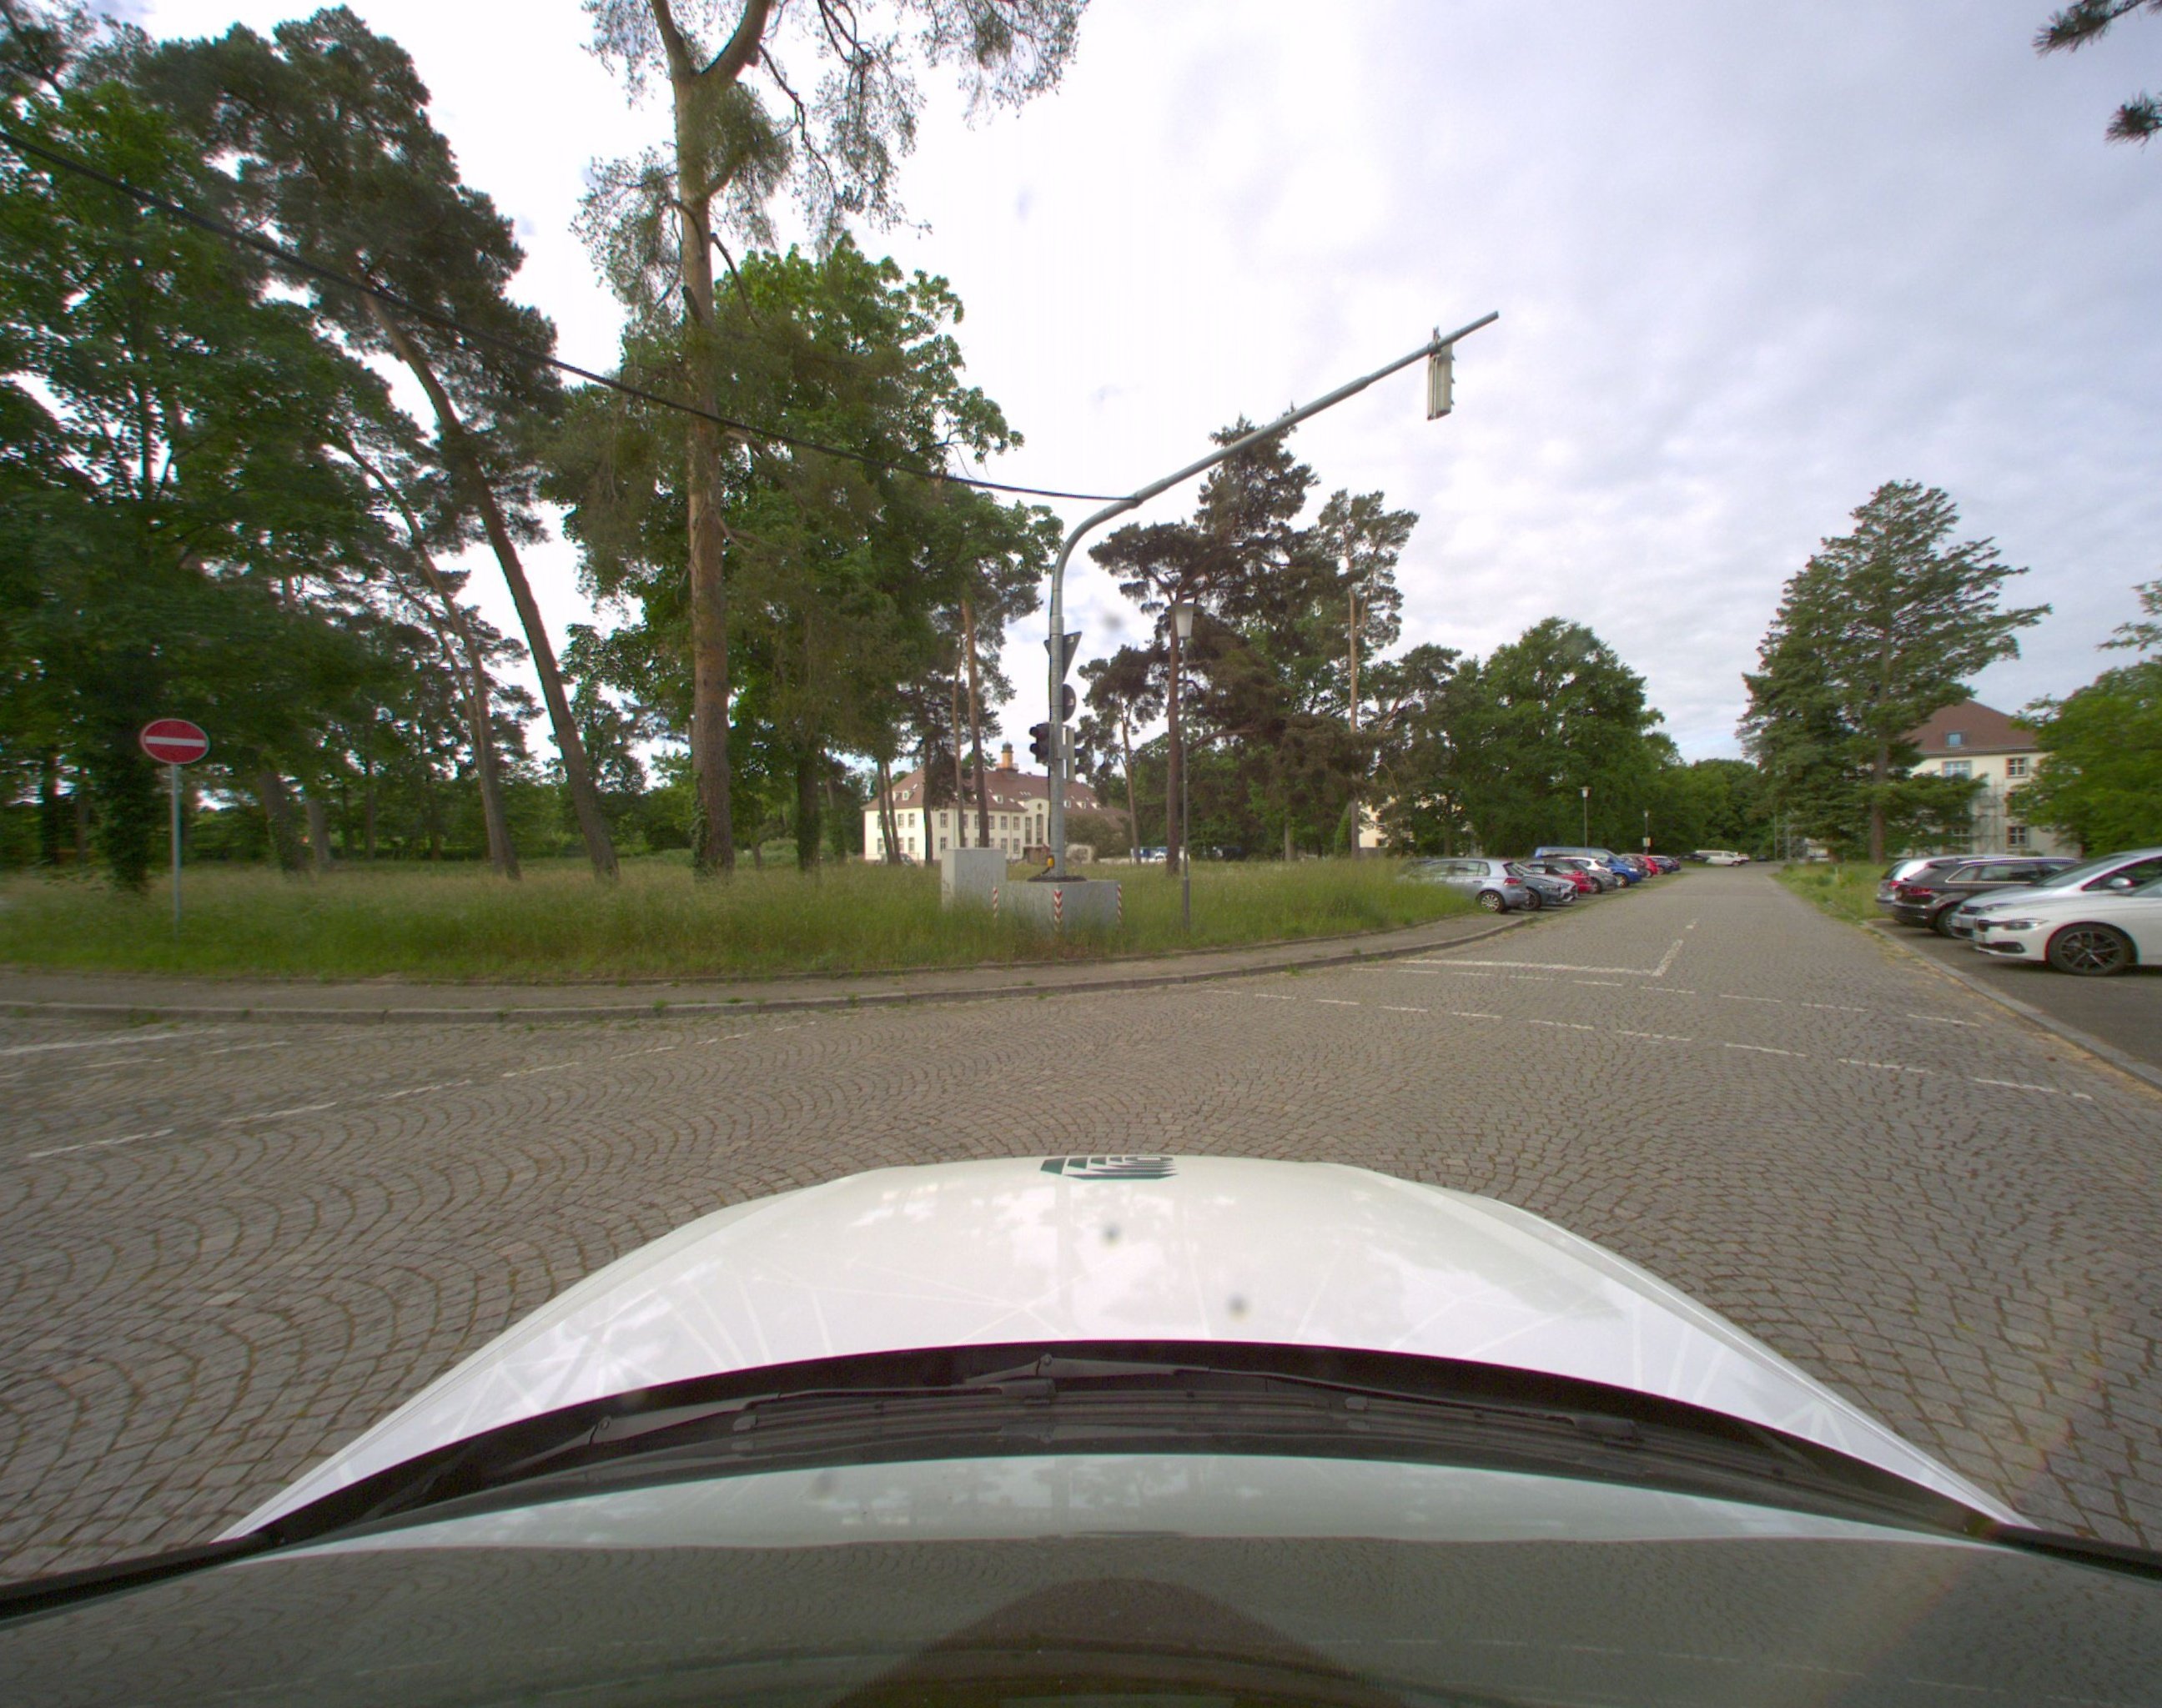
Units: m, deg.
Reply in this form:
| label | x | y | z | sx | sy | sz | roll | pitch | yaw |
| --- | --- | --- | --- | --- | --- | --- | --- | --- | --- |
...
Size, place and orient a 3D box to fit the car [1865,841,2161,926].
| label | x | y | z | sx | sy | sz | roll | pitch | yaw |
| --- | --- | --- | --- | --- | --- | --- | --- | --- | --- |
| car | 18.925 | 0.625 | 16.550 | 4.033 | 1.515 | 1.816 | -4 | -2 | 37 |

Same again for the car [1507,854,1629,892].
| label | x | y | z | sx | sy | sz | roll | pitch | yaw |
| --- | --- | --- | --- | --- | --- | --- | --- | --- | --- |
| car | 20.493 | 0.765 | 34.358 | 4.126 | 1.491 | 1.876 | -1 | 0 | 41 |

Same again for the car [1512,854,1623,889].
| label | x | y | z | sx | sy | sz | roll | pitch | yaw |
| --- | --- | --- | --- | --- | --- | --- | --- | --- | --- |
| car | 22.016 | 0.778 | 36.923 | 4.029 | 1.497 | 1.857 | -1 | 0 | 40 |

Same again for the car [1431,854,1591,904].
| label | x | y | z | sx | sy | sz | roll | pitch | yaw |
| --- | --- | --- | --- | --- | --- | --- | --- | --- | --- |
| car | 13.948 | 0.769 | 26.496 | 4.332 | 1.507 | 1.948 | -1 | 0 | 38 |

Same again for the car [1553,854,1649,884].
| label | x | y | z | sx | sy | sz | roll | pitch | yaw |
| --- | --- | --- | --- | --- | --- | --- | --- | --- | --- |
| car | 27.307 | 0.749 | 42.839 | 4.126 | 1.510 | 1.793 | -1 | 0 | 37 |

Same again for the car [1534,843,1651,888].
| label | x | y | z | sx | sy | sz | roll | pitch | yaw |
| --- | --- | --- | --- | --- | --- | --- | --- | --- | --- |
| car | 25.618 | 0.573 | 40.855 | 4.736 | 2.122 | 2.128 | -1 | 0 | 39 |

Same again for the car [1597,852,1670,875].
| label | x | y | z | sx | sy | sz | roll | pitch | yaw |
| --- | --- | --- | --- | --- | --- | --- | --- | --- | --- |
| car | 37.893 | 0.617 | 55.854 | 4.016 | 1.525 | 1.917 | -1 | 0 | 38 |

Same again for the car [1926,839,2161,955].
| label | x | y | z | sx | sy | sz | roll | pitch | yaw |
| --- | --- | --- | --- | --- | --- | --- | --- | --- | --- |
| car | 15.791 | 0.598 | 12.055 | 4.198 | 1.596 | 1.897 | -4 | -2 | 36 |

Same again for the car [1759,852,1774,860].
| label | x | y | z | sx | sy | sz | roll | pitch | yaw |
| --- | --- | --- | --- | --- | --- | --- | --- | --- | --- |
| car | 127.562 | 0.326 | 151.519 | 1.932 | 1.522 | 4.025 | 0 | 0 | 38 |

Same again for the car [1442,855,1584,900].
| label | x | y | z | sx | sy | sz | roll | pitch | yaw |
| --- | --- | --- | --- | --- | --- | --- | --- | --- | --- |
| car | 15.096 | 0.778 | 28.548 | 4.126 | 1.476 | 1.876 | -1 | 0 | 39 |

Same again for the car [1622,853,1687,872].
| label | x | y | z | sx | sy | sz | roll | pitch | yaw |
| --- | --- | --- | --- | --- | --- | --- | --- | --- | --- |
| car | 47.483 | 0.676 | 67.463 | 4.262 | 1.461 | 1.987 | 1 | 1 | 41 |

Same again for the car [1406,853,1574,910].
| label | x | y | z | sx | sy | sz | roll | pitch | yaw |
| --- | --- | --- | --- | --- | --- | --- | --- | --- | --- |
| car | 12.189 | 0.766 | 24.368 | 4.209 | 1.548 | 1.948 | -1 | 0 | 36 |

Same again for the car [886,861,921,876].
| label | x | y | z | sx | sy | sz | roll | pitch | yaw |
| --- | --- | --- | --- | --- | --- | --- | --- | --- | --- |
| car | -25.853 | 2.105 | 118.417 | 4.973 | 2.200 | 2.013 | 0 | 0 | 32 |

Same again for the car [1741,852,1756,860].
| label | x | y | z | sx | sy | sz | roll | pitch | yaw |
| --- | --- | --- | --- | --- | --- | --- | --- | --- | --- |
| car | 125.334 | 0.355 | 152.984 | 2.098 | 1.522 | 4.025 | 0 | 0 | 38 |

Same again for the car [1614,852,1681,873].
| label | x | y | z | sx | sy | sz | roll | pitch | yaw |
| --- | --- | --- | --- | --- | --- | --- | --- | --- | --- |
| car | 44.406 | 0.635 | 63.860 | 4.187 | 1.577 | 1.899 | 1 | 1 | 38 |

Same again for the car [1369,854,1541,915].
| label | x | y | z | sx | sy | sz | roll | pitch | yaw |
| --- | --- | --- | --- | --- | --- | --- | --- | --- | --- |
| car | 10.250 | 0.777 | 22.406 | 3.948 | 1.543 | 1.917 | -1 | 0 | 38 |

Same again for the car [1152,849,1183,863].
| label | x | y | z | sx | sy | sz | roll | pitch | yaw |
| --- | --- | --- | --- | --- | --- | --- | --- | --- | --- |
| car | 13.286 | 0.337 | 124.854 | 1.975 | 2.014 | 5.262 | -1 | -1 | 42 |

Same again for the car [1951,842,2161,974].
| label | x | y | z | sx | sy | sz | roll | pitch | yaw |
| --- | --- | --- | --- | --- | --- | --- | --- | --- | --- |
| car | 14.212 | 0.609 | 10.027 | 4.448 | 1.566 | 1.917 | -4 | -2 | 37 |

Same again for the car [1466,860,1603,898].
| label | x | y | z | sx | sy | sz | roll | pitch | yaw |
| --- | --- | --- | --- | --- | --- | --- | --- | --- | --- |
| car | 16.791 | 0.882 | 30.243 | 4.126 | 1.266 | 1.842 | -1 | 0 | 41 |

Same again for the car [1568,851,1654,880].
| label | x | y | z | sx | sy | sz | roll | pitch | yaw |
| --- | --- | --- | --- | --- | --- | --- | --- | --- | --- |
| car | 31.139 | 0.658 | 47.887 | 4.126 | 1.622 | 1.999 | -1 | 0 | 37 |

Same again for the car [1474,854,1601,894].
| label | x | y | z | sx | sy | sz | roll | pitch | yaw |
| --- | --- | --- | --- | --- | --- | --- | --- | --- | --- |
| car | 18.203 | 0.770 | 32.545 | 4.126 | 1.482 | 1.857 | -1 | 0 | 40 |

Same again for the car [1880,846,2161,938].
| label | x | y | z | sx | sy | sz | roll | pitch | yaw |
| --- | --- | --- | --- | --- | --- | --- | --- | --- | --- |
| car | 17.194 | 0.670 | 14.443 | 4.033 | 1.453 | 1.897 | -4 | -2 | 37 |

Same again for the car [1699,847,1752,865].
| label | x | y | z | sx | sy | sz | roll | pitch | yaw |
| --- | --- | --- | --- | --- | --- | --- | --- | --- | --- |
| car | 81.512 | 0.240 | 103.056 | 5.184 | 2.168 | 2.013 | 0 | 0 | 37 |
